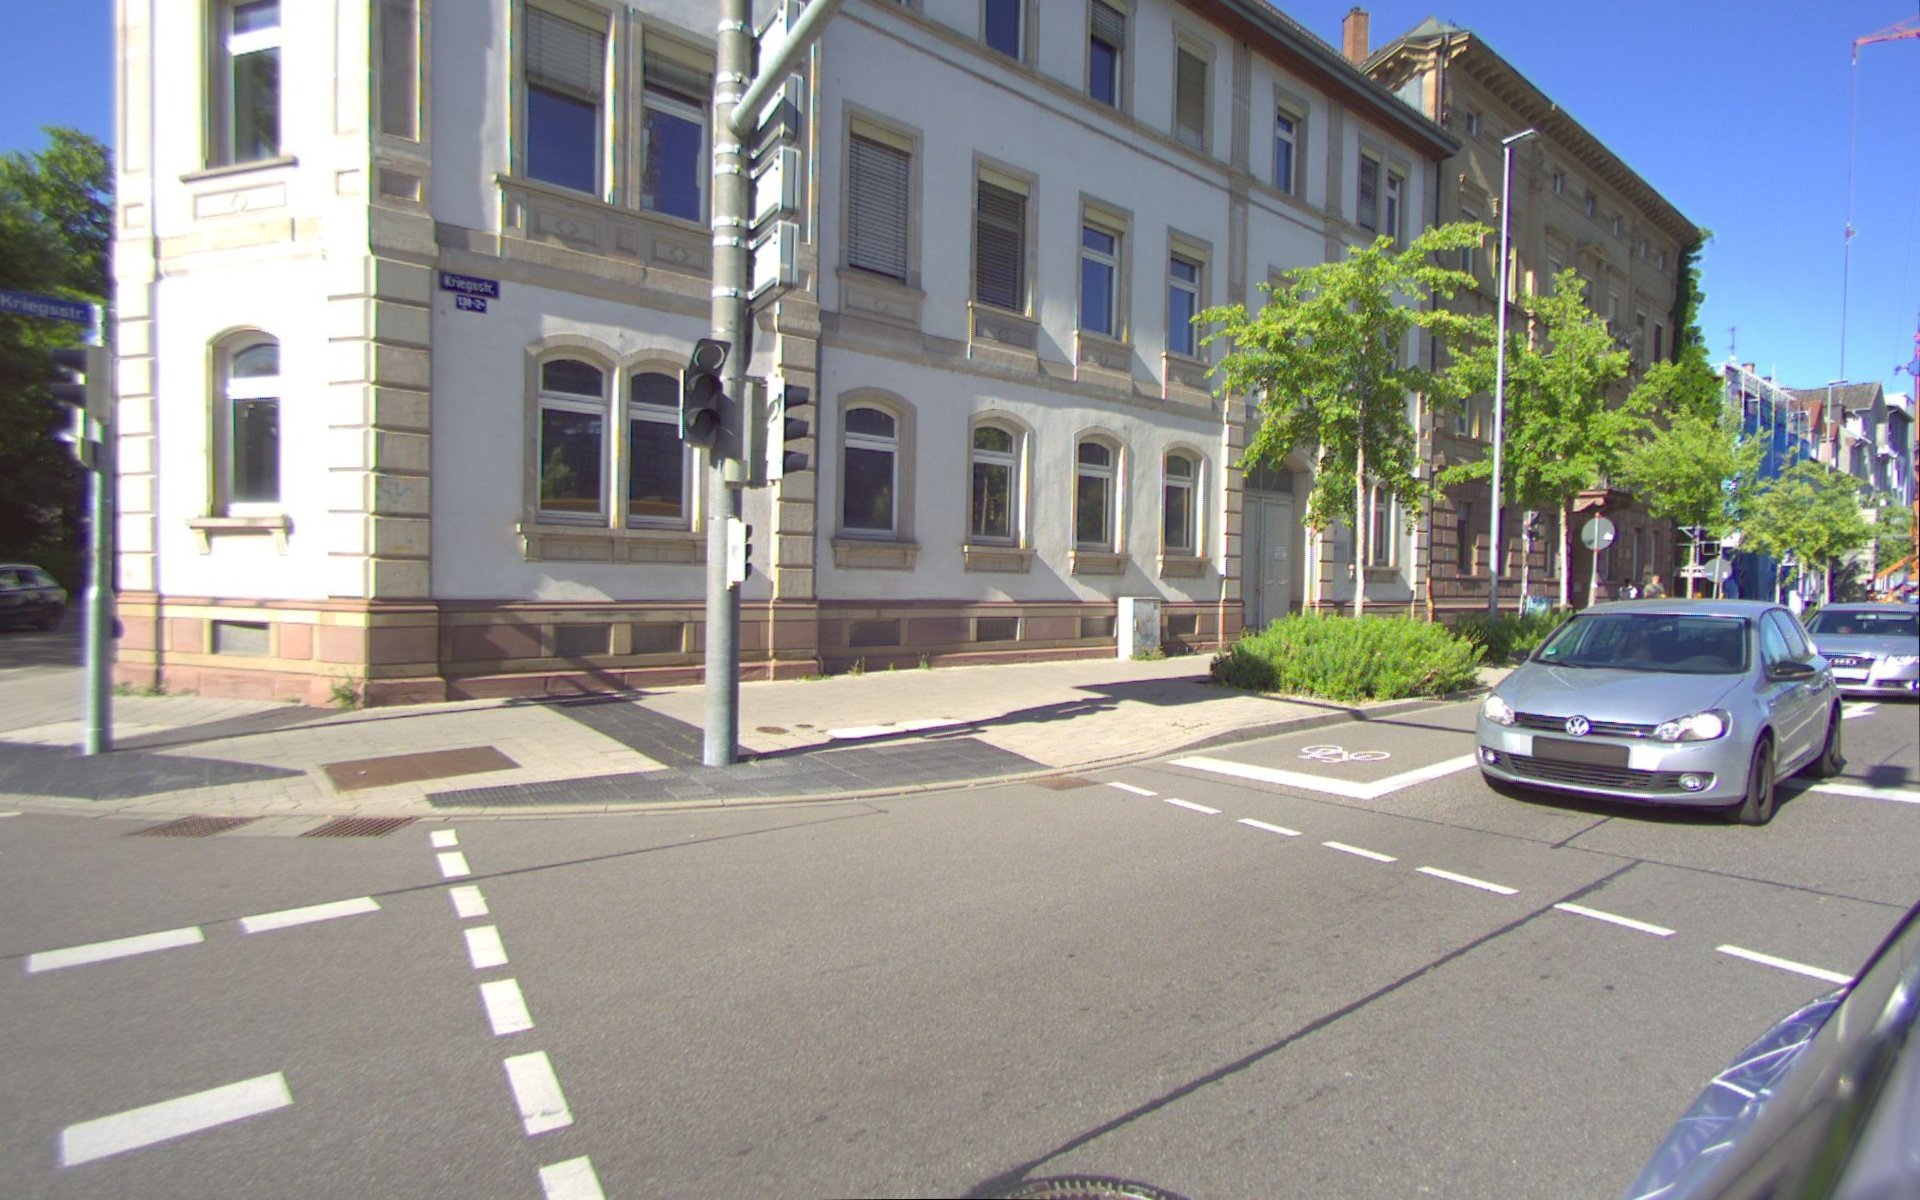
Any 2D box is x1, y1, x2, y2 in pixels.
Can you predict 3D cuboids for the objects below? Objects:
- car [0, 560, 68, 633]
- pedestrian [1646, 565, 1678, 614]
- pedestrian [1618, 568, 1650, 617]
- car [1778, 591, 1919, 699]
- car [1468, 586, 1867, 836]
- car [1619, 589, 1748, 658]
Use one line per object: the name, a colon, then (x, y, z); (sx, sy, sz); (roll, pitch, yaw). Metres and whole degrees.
car: (-20.384, -0.105, 20.548); (1.821, 1.457, 4.009); (2, 1, -16)
pedestrian: (22.655, -0.341, 32.644); (0.891, 1.581, 0.668); (0, 0, -42)
pedestrian: (22.083, -0.255, 33.148); (0.891, 1.581, 0.668); (0, 0, -42)
car: (14.073, 0.597, 15.429); (3.930, 1.442, 1.838); (-1, 1, -41)
car: (5.742, 0.644, 8.032); (3.930, 1.493, 1.701); (-1, 1, -41)
car: (17.335, 0.495, 24.182); (3.930, 1.461, 1.609); (-1, 2, -41)
